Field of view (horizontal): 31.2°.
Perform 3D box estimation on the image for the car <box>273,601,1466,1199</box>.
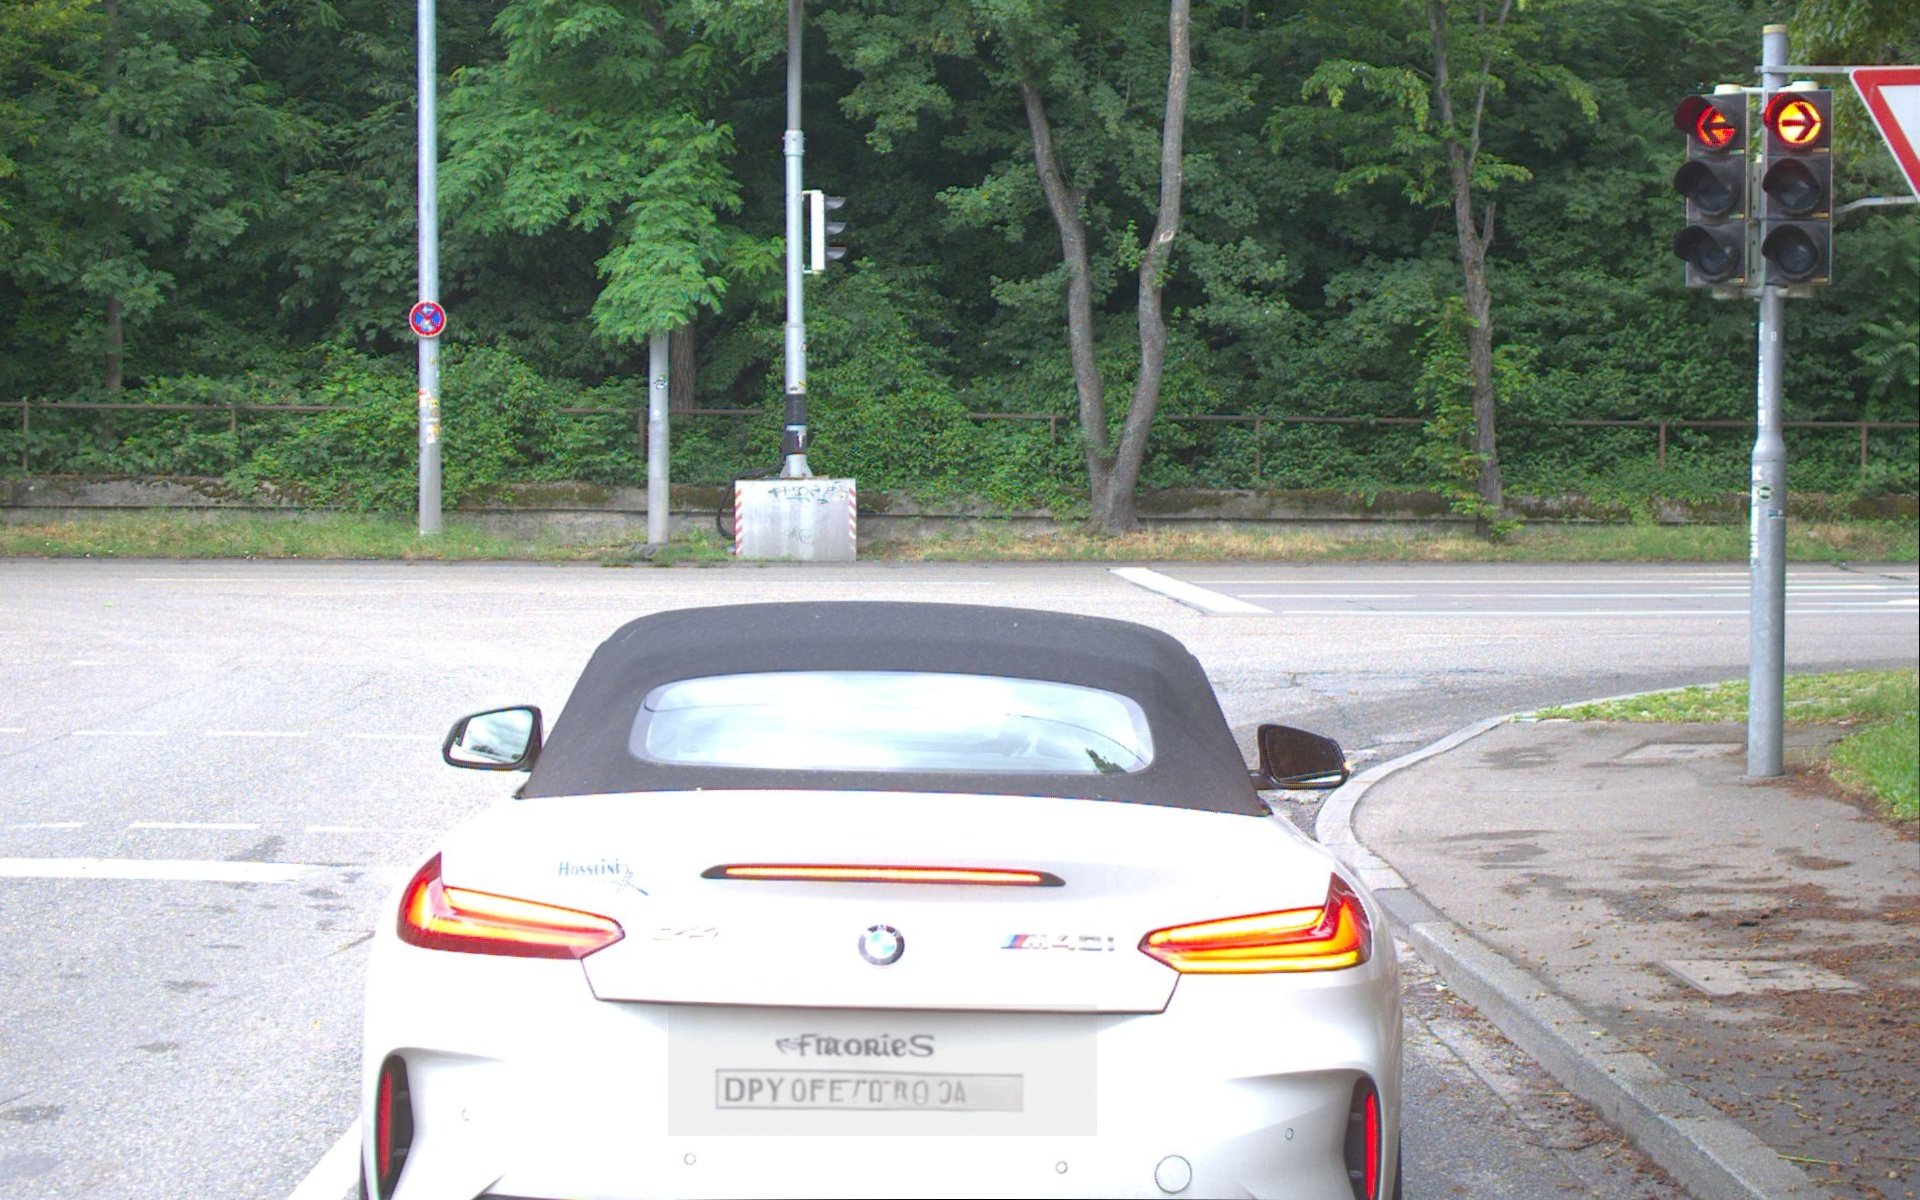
[{"bbox_3d":[-0.233,0.654,7.334,1.827,1.253,4.000,2,0,-3],"label":"car"}]
